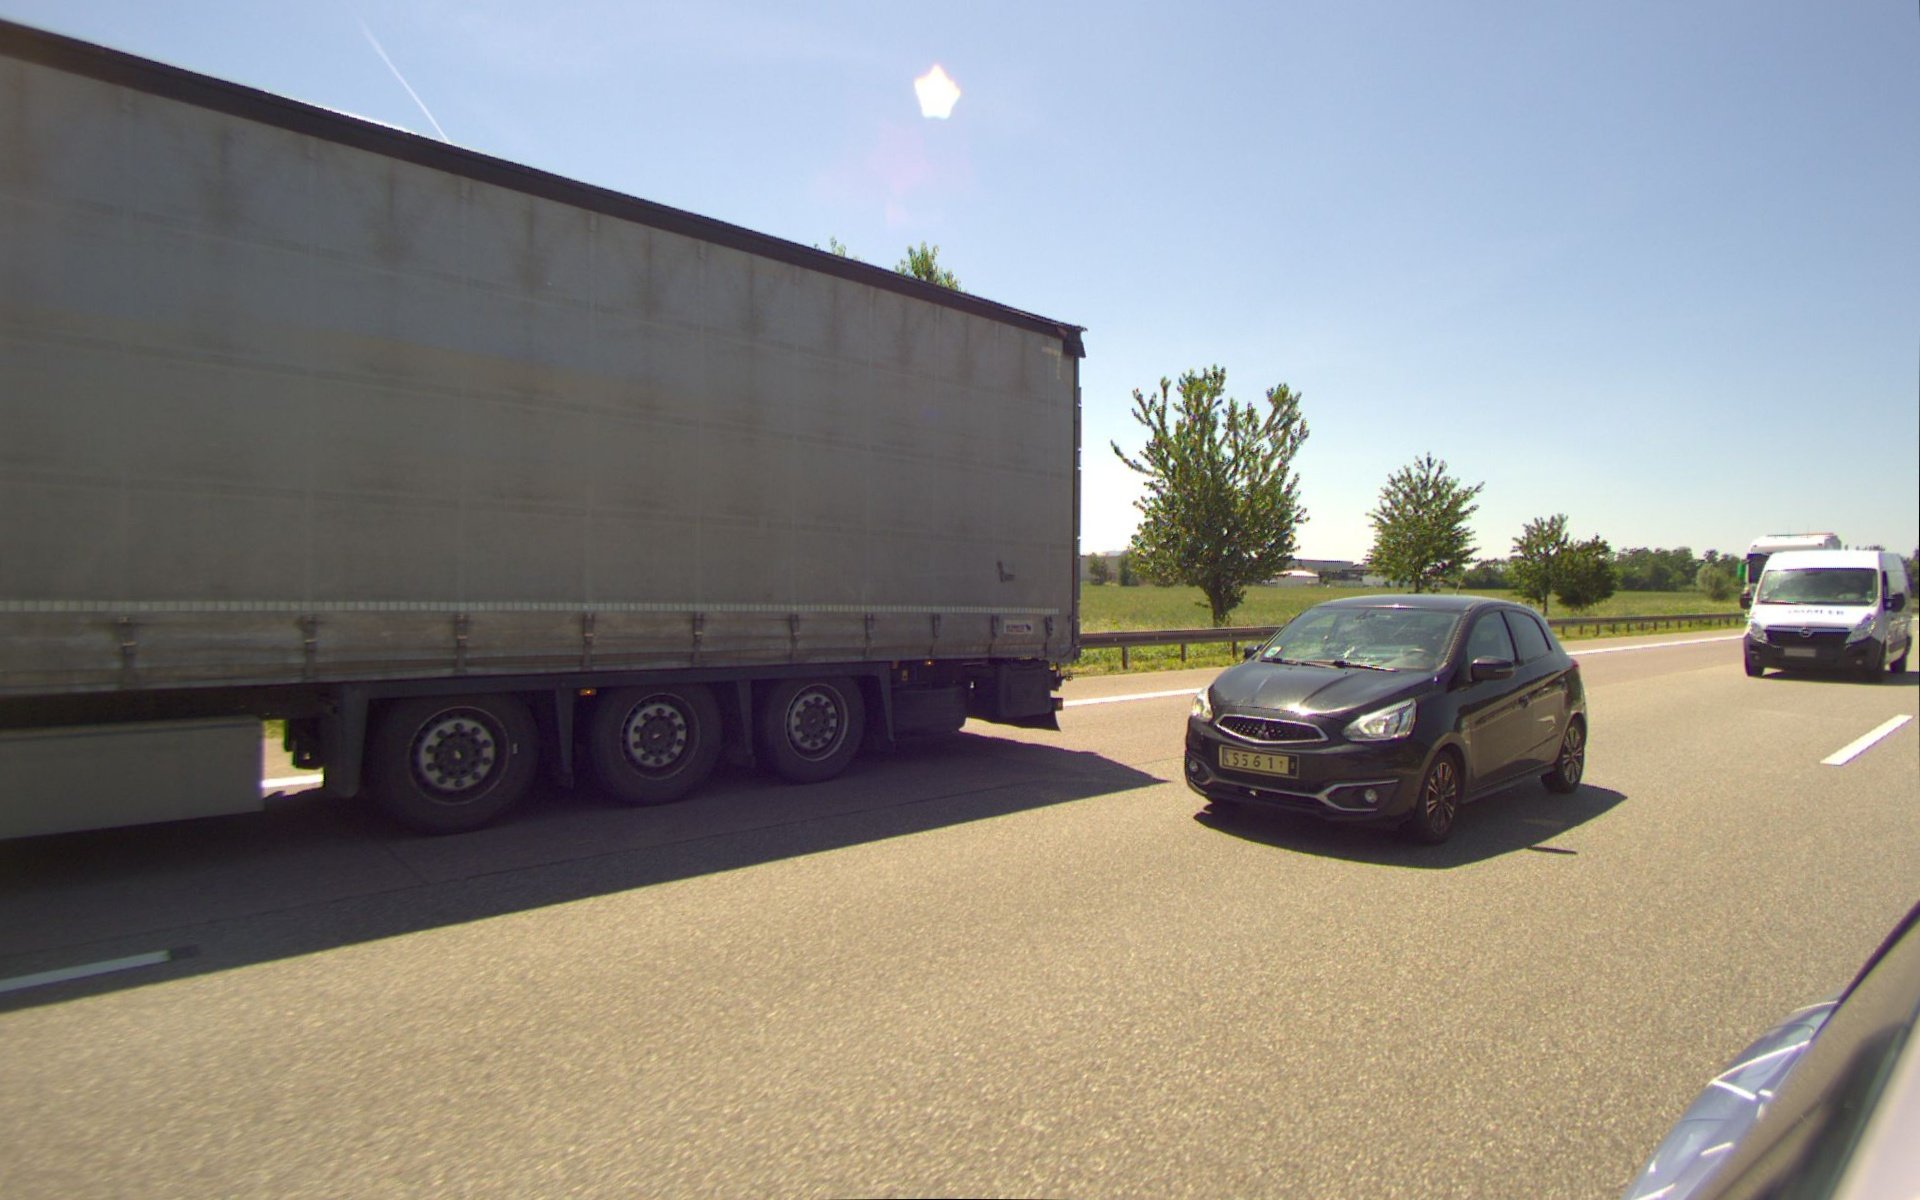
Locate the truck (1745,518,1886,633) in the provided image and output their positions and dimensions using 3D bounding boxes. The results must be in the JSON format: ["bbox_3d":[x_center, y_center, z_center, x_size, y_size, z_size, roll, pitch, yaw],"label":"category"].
[{"bbox_3d":[32.878,-0.874,38.777,7.563,4.016,2.699,0,0,-39],"label":"truck"}]

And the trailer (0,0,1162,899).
[{"bbox_3d":[-4.265,-0.851,6.441,14.002,4.359,2.815,-1,0,-40],"label":"trailer"}]

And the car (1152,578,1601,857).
[{"bbox_3d":[3.080,0.615,7.206,3.374,1.492,1.689,0,0,-42],"label":"car"}]

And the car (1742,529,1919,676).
[{"bbox_3d":[17.629,0.013,20.202,5.843,2.540,2.156,0,0,-42],"label":"car"}]

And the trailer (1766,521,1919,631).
[{"bbox_3d":[37.385,-0.889,42.376,13.707,4.016,2.699,0,0,-39],"label":"trailer"}]
